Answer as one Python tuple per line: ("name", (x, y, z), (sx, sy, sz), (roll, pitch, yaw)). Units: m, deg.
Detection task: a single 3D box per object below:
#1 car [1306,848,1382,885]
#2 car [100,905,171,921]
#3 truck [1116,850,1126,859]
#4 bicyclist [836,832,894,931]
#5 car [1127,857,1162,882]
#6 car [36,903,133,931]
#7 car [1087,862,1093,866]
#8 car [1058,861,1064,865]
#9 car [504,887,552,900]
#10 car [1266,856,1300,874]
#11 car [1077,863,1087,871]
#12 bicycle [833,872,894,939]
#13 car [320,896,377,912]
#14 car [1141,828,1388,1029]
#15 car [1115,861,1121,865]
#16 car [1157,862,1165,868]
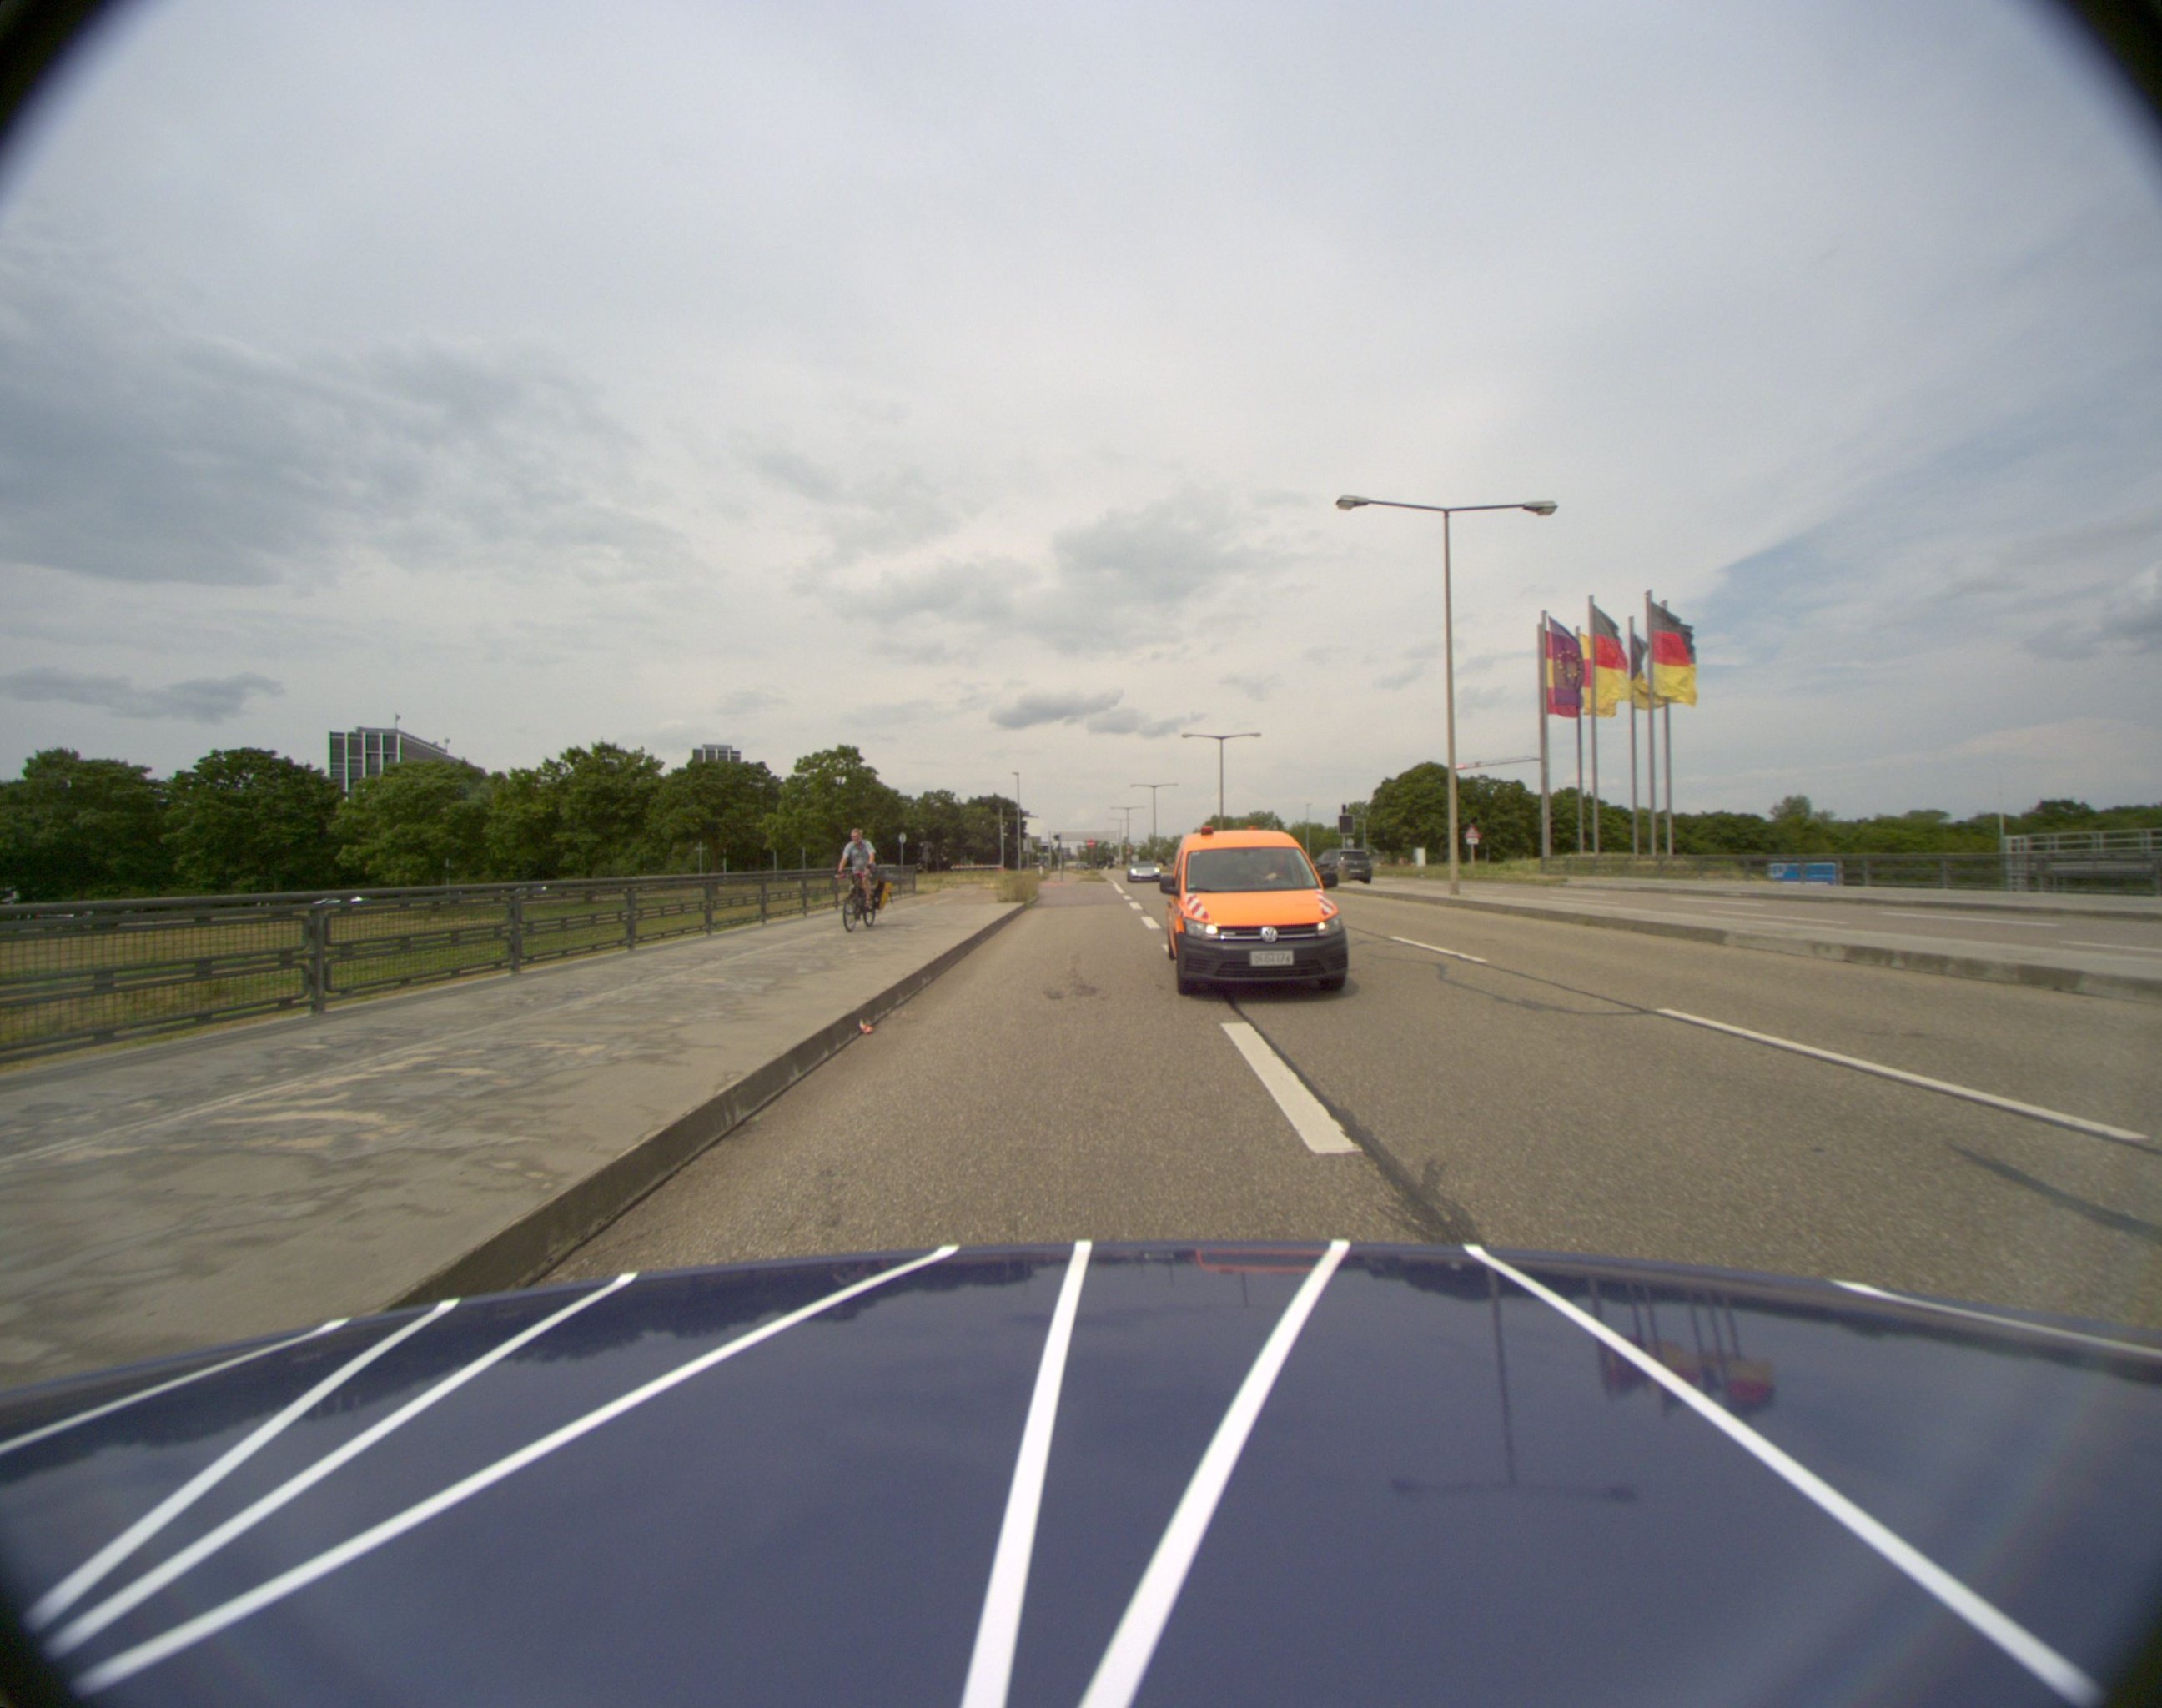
("car", (12.456, 0.569, 36.270), (1.998, 1.630, 4.662), (1, 0, 0))
("car", (-87.203, 5.427, 70.135), (3.688, 1.124, 1.676), (-2, 0, -24))
("truck", (9.354, 0.175, 177.039), (1.999, 2.002, 4.000), (-1, 0, -1))
("bicyclist", (-4.076, 0.513, 14.384), (0.873, 1.791, 0.956), (1, 0, -6))
("car", (3.851, 0.944, 46.552), (1.696, 1.403, 3.683), (-2, 0, -2))
("car", (-82.784, 5.183, 63.225), (4.476, 2.002, 1.997), (-1, 0, -21))
("car", (2.794, 3.272, 244.544), (1.695, 1.230, 3.469), (-2, 0, -1))
("car", (-5.512, 2.540, 212.040), (1.695, 1.230, 3.469), (-2, 0, -1))
("car", (-57.607, 4.064, 79.177), (3.688, 1.124, 1.676), (-2, 0, -24))
("car", (16.771, 0.897, 63.228), (1.695, 1.485, 3.999), (0, 0, -1))
("car", (0.107, 2.068, 123.193), (1.558, 1.230, 3.469), (-2, 0, -1))
("bicycle", (-4.069, 0.932, 14.350), (0.815, 1.134, 1.763), (0, 1, -6))
("car", (-72.629, 4.935, 75.389), (3.688, 1.265, 1.676), (-2, 0, -24))
("car", (1.908, 0.722, 9.378), (1.892, 1.824, 4.430), (-2, 0, 0))
("car", (11.972, 2.947, 247.532), (1.695, 1.230, 3.469), (-2, 0, -1))
("car", (19.485, 2.695, 185.339), (1.695, 1.230, 3.469), (-2, 0, 0))
